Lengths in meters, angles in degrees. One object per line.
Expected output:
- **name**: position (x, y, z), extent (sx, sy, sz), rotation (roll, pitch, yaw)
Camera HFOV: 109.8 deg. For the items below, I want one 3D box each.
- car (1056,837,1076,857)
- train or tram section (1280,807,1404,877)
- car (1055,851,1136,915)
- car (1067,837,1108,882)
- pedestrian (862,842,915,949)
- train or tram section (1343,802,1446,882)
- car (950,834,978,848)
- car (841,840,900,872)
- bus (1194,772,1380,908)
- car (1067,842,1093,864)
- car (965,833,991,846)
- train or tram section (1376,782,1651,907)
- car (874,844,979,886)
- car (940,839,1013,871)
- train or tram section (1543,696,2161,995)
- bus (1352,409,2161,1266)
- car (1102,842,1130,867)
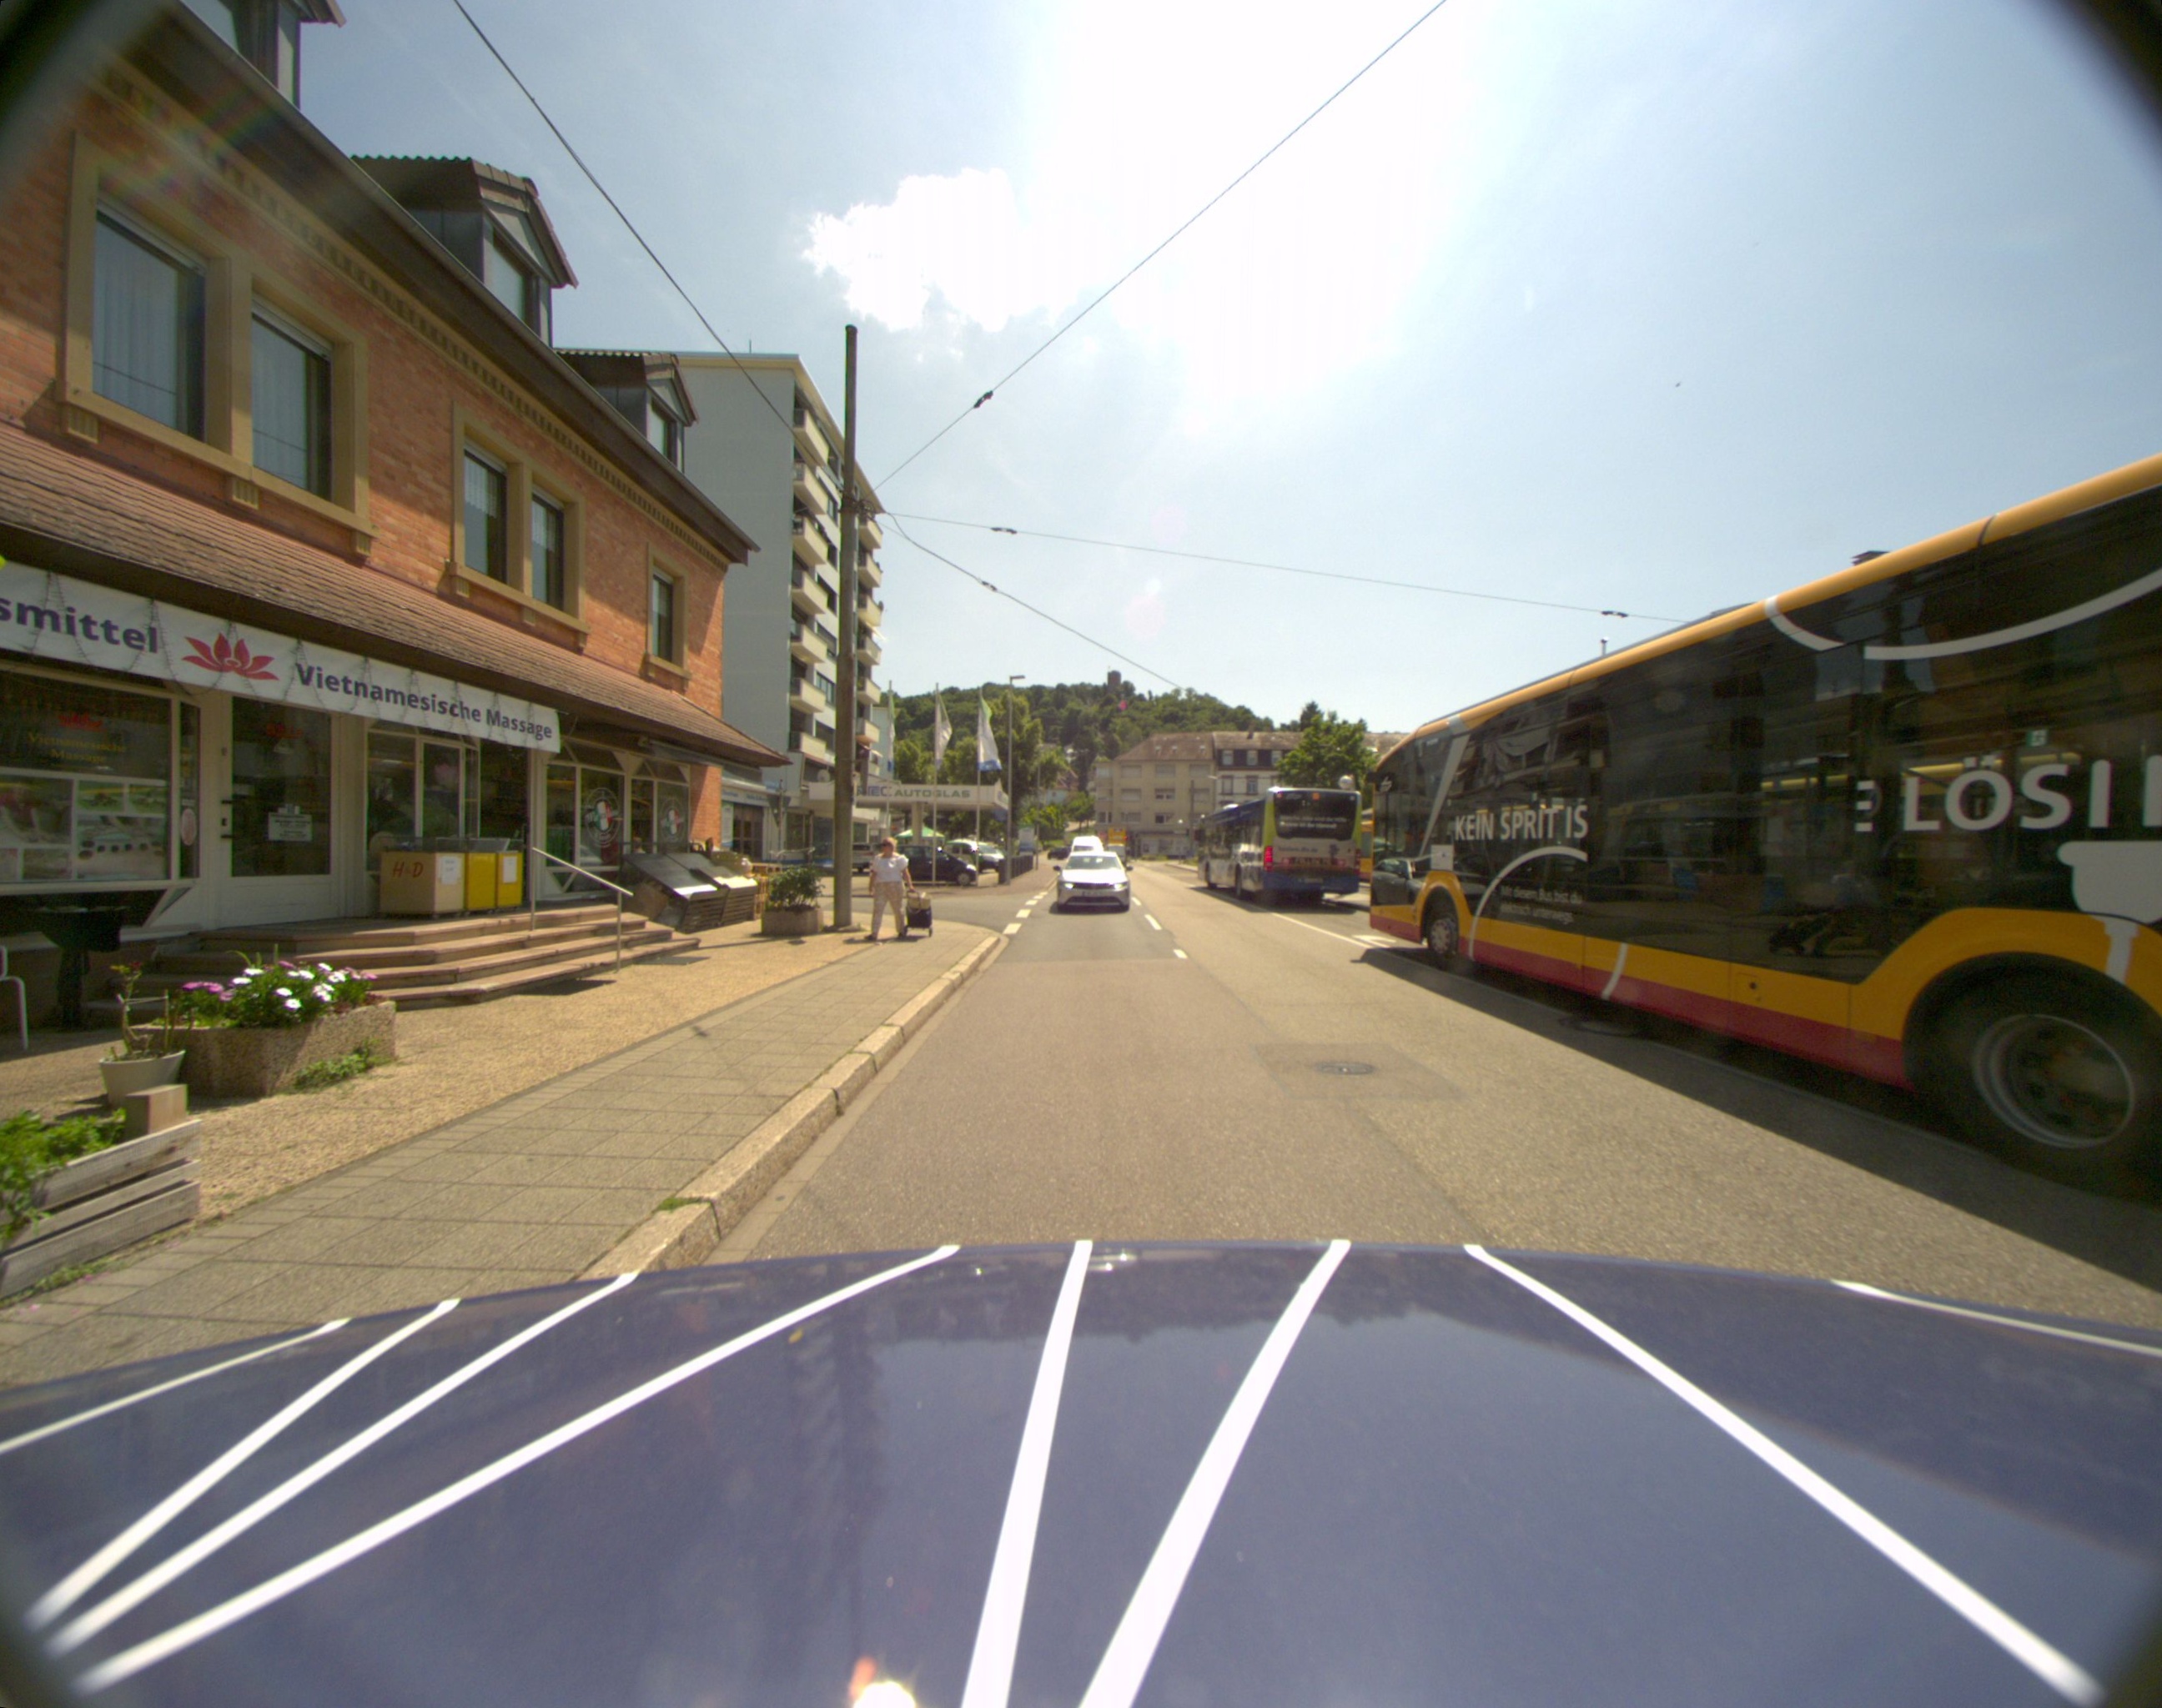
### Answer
- **car**: position (-1.646, -0.787, 83.596), extent (1.998, 2.002, 3.999), rotation (-1, 2, 1)
- **train or tram section**: position (14.768, -0.705, 44.561), extent (2.971, 3.475, 12.711), rotation (-1, 1, 0)
- **car**: position (0.340, 0.645, 19.194), extent (1.818, 1.371, 4.391), rotation (0, 1, 0)
- **car**: position (0.287, 0.233, 42.240), extent (1.999, 2.259, 5.441), rotation (-1, 2, -2)
- **pedestrian**: position (-3.034, 0.641, 12.023), extent (0.707, 1.631, 0.659), rotation (2, 0, -9)
- **train or tram section**: position (14.803, -0.569, 36.229), extent (2.971, 3.475, 4.416), rotation (1, 1, 0)
- **car**: position (-17.650, -2.043, 114.569), extent (2.398, 2.002, 5.384), rotation (-1, 2, 12)
- **car**: position (-11.210, 0.072, 40.859), extent (1.750, 1.617, 4.705), rotation (1, 1, 2)
- **bus**: position (6.146, -0.343, 25.403), extent (2.915, 3.407, 12.039), rotation (-1, 0, 0)
- **car**: position (-0.050, -0.076, 60.743), extent (1.998, 1.609, 3.999), rotation (-1, 2, 1)
- **car**: position (-16.389, -2.357, 121.116), extent (2.398, 2.002, 5.384), rotation (-1, 2, 12)
- **train or tram section**: position (14.692, -0.360, 27.829), extent (2.971, 3.475, 12.655), rotation (-1, 1, 0)
- **car**: position (-6.028, 0.408, 29.736), extent (3.890, 1.534, 1.840), rotation (1, 2, -12)
- **car**: position (-6.169, 0.049, 44.764), extent (4.277, 1.780, 1.827), rotation (0, 3, 40)
- **train or tram section**: position (14.594, -0.178, 12.964), extent (2.971, 3.622, 17.349), rotation (-1, 1, 0)
- **bus**: position (5.574, -0.165, 5.715), extent (2.905, 3.229, 12.193), rotation (-1, 2, 1)
- **car**: position (2.760, 0.027, 60.826), extent (1.708, 1.840, 4.710), rotation (-1, 2, -3)
